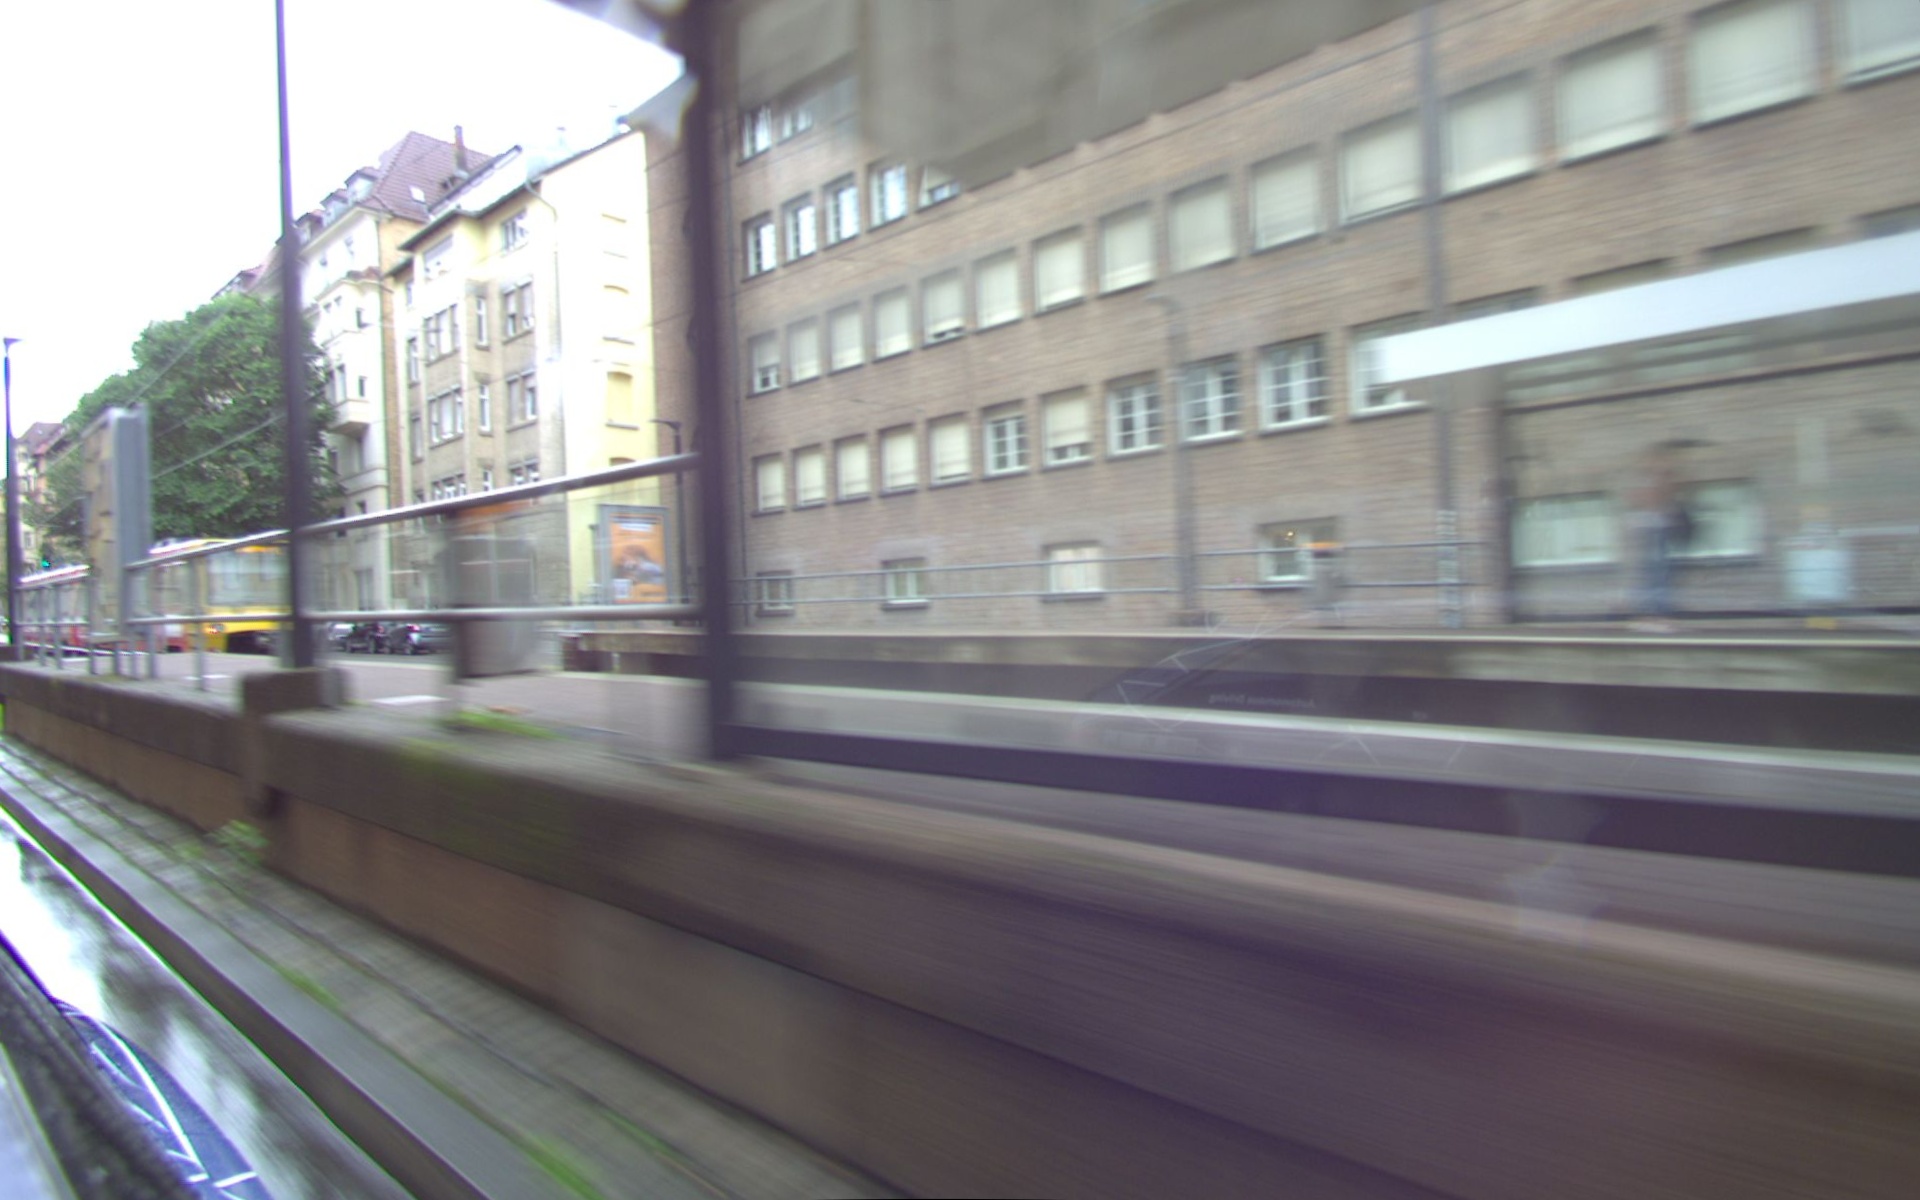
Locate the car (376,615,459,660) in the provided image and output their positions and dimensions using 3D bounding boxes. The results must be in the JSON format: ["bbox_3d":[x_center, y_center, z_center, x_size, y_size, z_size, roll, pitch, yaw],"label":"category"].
[{"bbox_3d":[-18.945,1.292,35.293,3.111,1.477,1.627,-2,-1,43],"label":"car"}]

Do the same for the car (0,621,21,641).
[{"bbox_3d":[-102.291,3.359,108.512,3.998,1.984,1.973,-2,0,41],"label":"car"}]

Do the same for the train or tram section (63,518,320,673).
[{"bbox_3d":[-26.032,0.044,33.350,19.850,3.950,2.687,-1,0,41],"label":"train or tram section"}]

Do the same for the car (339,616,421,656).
[{"bbox_3d":[-21.686,1.332,37.778,3.632,1.414,1.627,-2,-1,43],"label":"car"}]

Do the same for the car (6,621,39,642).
[{"bbox_3d":[-92.705,3.120,100.061,3.998,1.984,1.973,-2,0,41],"label":"car"}]

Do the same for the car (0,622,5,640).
[{"bbox_3d":[-110.327,3.555,115.155,3.998,1.984,1.973,-2,0,41],"label":"car"}]

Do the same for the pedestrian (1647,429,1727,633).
[{"bbox_3d":[6.416,-0.579,8.925,0.491,1.722,0.581,-2,-2,40],"label":"pedestrian"}]

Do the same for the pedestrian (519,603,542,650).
[{"bbox_3d":[-15.389,0.956,36.276,0.542,1.666,0.543,-2,0,42],"label":"pedestrian"}]

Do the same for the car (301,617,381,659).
[{"bbox_3d":[-25.133,1.516,41.024,4.338,1.593,1.626,-2,-1,43],"label":"car"}]

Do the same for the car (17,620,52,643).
[{"bbox_3d":[-87.130,2.982,95.266,3.998,1.984,1.973,-2,0,41],"label":"car"}]

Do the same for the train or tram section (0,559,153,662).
[{"bbox_3d":[-40.651,0.559,46.025,19.286,3.950,2.687,-1,0,41],"label":"train or tram section"}]

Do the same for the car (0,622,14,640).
[{"bbox_3d":[-105.777,3.445,111.446,3.998,1.984,1.973,-2,0,41],"label":"car"}]

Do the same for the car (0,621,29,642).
[{"bbox_3d":[-98.175,3.257,104.868,3.998,1.984,1.973,-2,0,41],"label":"car"}]
